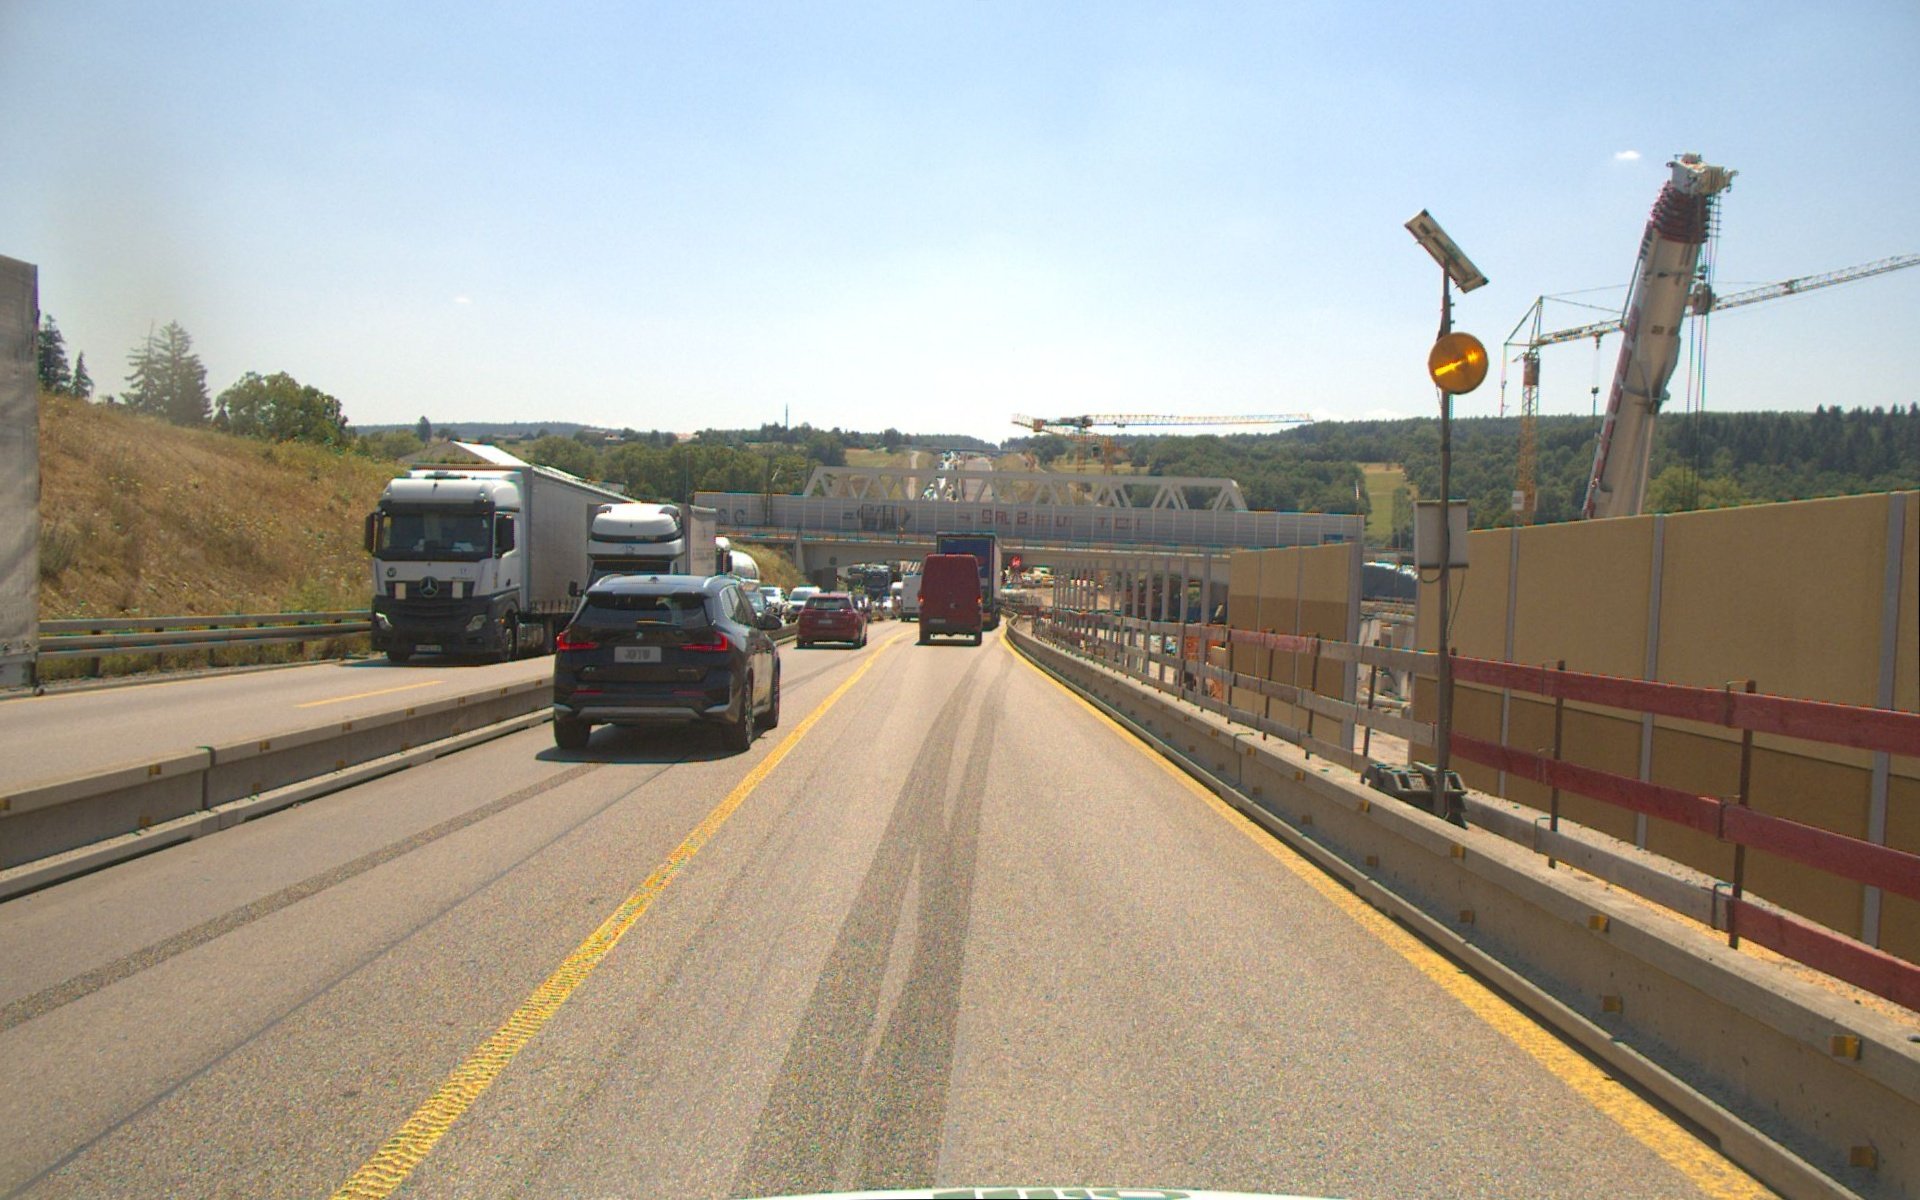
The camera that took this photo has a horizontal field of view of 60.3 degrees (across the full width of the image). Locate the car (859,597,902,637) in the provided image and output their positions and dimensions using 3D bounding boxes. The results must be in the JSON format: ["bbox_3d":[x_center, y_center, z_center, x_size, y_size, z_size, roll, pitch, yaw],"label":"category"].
[{"bbox_3d":[-3.530,0.745,73.668,1.802,1.683,4.164,0,1,-2],"label":"car"}]

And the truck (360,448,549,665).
[{"bbox_3d":[-10.273,-0.855,33.968,2.643,4.120,3.954,1,0,-1],"label":"truck"}]

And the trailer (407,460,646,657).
[{"bbox_3d":[-10.444,-0.917,41.766,2.643,4.095,13.699,1,0,-1],"label":"trailer"}]

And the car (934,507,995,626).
[{"bbox_3d":[0.118,-1.493,76.652,2.568,5.120,10.395,0,0,-1],"label":"car"}]

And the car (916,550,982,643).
[{"bbox_3d":[-0.360,-0.113,51.465,1.948,2.737,4.623,0,0,-1],"label":"car"}]

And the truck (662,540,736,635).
[{"bbox_3d":[-11.038,-0.542,70.221,2.537,3.868,3.766,1,0,-1],"label":"truck"}]

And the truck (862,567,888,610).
[{"bbox_3d":[-8.287,-1.134,161.632,2.310,4.085,3.998,1,0,-2],"label":"truck"}]

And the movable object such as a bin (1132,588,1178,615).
[{"bbox_3d":[22.104,0.179,187.761,5.038,2.856,2.144,1,0,5],"label":"movable object such as a bin"}]

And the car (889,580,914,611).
[{"bbox_3d":[-5.128,-0.409,146.551,1.953,2.652,7.010,1,0,0],"label":"car"}]

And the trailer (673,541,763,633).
[{"bbox_3d":[-11.102,-0.593,76.965,2.537,3.868,11.915,1,0,-1],"label":"trailer"}]

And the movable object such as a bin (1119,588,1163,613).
[{"bbox_3d":[21.233,0.062,194.343,5.038,2.856,2.144,1,0,5],"label":"movable object such as a bin"}]

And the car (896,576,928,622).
[{"bbox_3d":[-2.694,-0.079,93.180,1.740,2.484,4.205,0,0,-1],"label":"car"}]

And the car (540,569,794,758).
[{"bbox_3d":[-2.806,0.543,16.814,1.841,1.646,4.498,1,0,-1],"label":"car"}]

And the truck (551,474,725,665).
[{"bbox_3d":[-7.073,-0.639,37.320,2.537,3.824,7.357,1,0,-1],"label":"truck"}]

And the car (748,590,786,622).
[{"bbox_3d":[-11.017,0.323,94.449,1.754,1.793,4.536,1,0,-2],"label":"car"}]

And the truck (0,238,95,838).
[{"bbox_3d":[-6.692,-0.354,6.933,2.487,3.433,7.036,1,0,-1],"label":"truck"}]

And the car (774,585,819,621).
[{"bbox_3d":[-8.243,0.150,83.858,1.841,1.775,4.482,0,0,0],"label":"car"}]

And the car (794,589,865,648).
[{"bbox_3d":[-3.563,0.480,45.705,1.740,1.544,4.205,0,0,-2],"label":"car"}]

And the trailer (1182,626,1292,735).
[{"bbox_3d":[11.861,3.303,72.099,2.702,3.954,13.050,1,0,1],"label":"trailer"}]

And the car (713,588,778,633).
[{"bbox_3d":[-7.488,0.361,58.134,1.743,1.483,4.719,2,0,-2],"label":"car"}]

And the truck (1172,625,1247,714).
[{"bbox_3d":[11.956,3.253,79.649,2.702,3.954,5.882,1,0,1],"label":"truck"}]
